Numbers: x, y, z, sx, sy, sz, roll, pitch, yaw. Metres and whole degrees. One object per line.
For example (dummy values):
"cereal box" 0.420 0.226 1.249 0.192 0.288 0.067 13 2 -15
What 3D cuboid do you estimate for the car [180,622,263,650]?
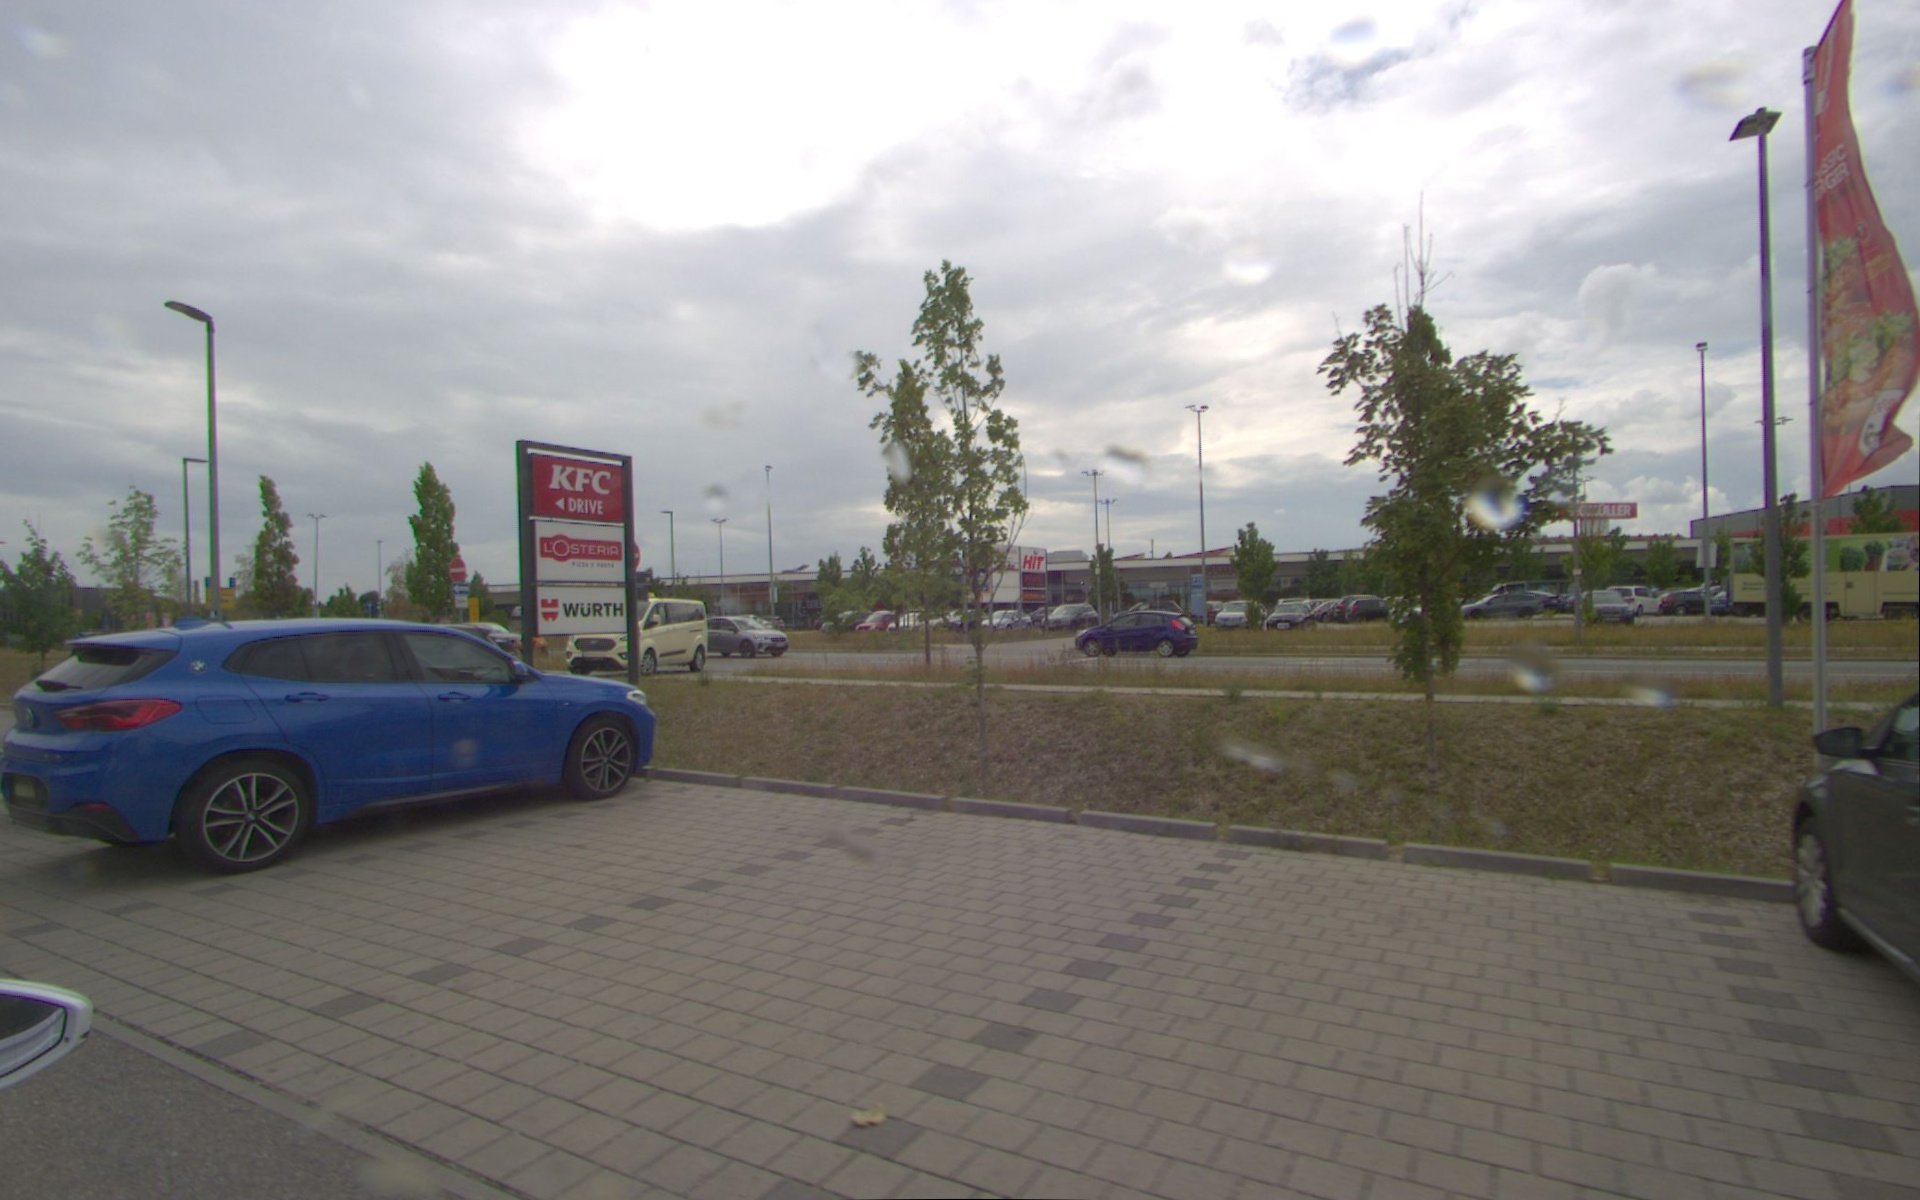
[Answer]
"car" -39.627 1.925 53.721 4.486 1.413 1.762 -1 -1 27

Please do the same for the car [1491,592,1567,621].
"car" 38.434 0.439 67.757 4.110 1.862 1.997 -1 1 15

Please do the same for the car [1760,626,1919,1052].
"car" 4.080 0.800 3.149 1.701 1.446 3.985 -1 -2 28

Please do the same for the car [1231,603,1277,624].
"car" 27.679 1.267 94.472 4.110 1.862 1.997 -1 1 15

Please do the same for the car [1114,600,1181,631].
"car" 12.128 0.984 64.681 4.110 1.862 1.997 -1 1 15

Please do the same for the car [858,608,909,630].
"car" -6.901 1.689 90.667 4.111 1.862 1.997 -1 1 16

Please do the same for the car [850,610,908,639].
"car" -4.911 1.492 61.323 1.876 1.560 4.043 -1 1 22

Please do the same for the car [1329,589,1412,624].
"car" 23.316 0.351 57.062 4.110 1.862 1.997 -1 1 15

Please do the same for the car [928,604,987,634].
"car" -0.089 1.088 57.823 1.966 1.560 4.043 -1 1 22

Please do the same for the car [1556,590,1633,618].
"car" 44.288 0.258 70.020 4.110 1.862 1.997 -1 1 15

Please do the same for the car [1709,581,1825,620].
"car" 40.736 0.019 50.633 4.063 1.795 1.998 -2 1 10

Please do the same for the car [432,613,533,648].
"car" -20.525 1.317 43.034 4.152 1.413 1.762 -1 -1 27

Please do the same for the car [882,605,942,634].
"car" -2.797 1.149 59.796 1.835 1.521 4.058 -1 1 26

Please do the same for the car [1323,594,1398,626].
"car" 24.761 0.637 62.023 4.110 1.862 1.997 -1 1 15

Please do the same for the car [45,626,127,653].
"car" -55.784 2.491 63.887 4.769 1.573 1.798 -1 1 19

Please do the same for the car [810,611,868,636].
"car" -9.637 1.833 79.819 4.110 1.862 1.997 -1 1 15

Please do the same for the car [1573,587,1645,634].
"car" 26.912 0.409 41.655 1.900 1.795 4.305 -1 1 25

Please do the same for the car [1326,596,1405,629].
"car" 24.032 0.753 59.525 4.110 1.862 1.997 -1 1 15

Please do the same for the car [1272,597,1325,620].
"car" 28.356 0.713 83.956 4.110 1.862 1.997 -1 1 15

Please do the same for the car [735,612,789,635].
"car" -17.197 2.009 87.025 4.108 1.862 1.998 -1 1 12

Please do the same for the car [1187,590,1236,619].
"car" 14.948 0.253 59.400 1.968 1.560 4.143 -1 1 27

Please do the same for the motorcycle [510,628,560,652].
"motorcycle" -15.424 1.451 36.309 2.003 0.784 0.810 -3 1 39

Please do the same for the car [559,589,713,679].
"car" -8.287 0.816 26.221 1.961 2.114 5.230 0 0 5

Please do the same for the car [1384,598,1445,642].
"car" 20.386 0.881 45.087 1.964 1.795 4.313 -1 1 17

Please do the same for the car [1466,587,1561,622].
"car" 30.957 0.240 56.122 4.240 1.795 1.998 -2 1 13

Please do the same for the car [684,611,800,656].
"car" -7.860 1.199 36.049 3.943 1.479 1.820 -1 1 32

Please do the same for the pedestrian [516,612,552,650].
"pedestrian" -15.453 1.118 36.319 0.888 1.298 0.800 -4 1 39

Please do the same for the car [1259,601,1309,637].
"car" 15.429 0.867 47.612 1.743 1.560 4.040 -1 1 25

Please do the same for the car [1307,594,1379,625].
"car" 24.699 0.623 64.753 4.110 1.862 1.997 -1 1 15

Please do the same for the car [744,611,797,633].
"car" -16.988 1.983 89.840 4.111 1.862 1.997 -1 1 16

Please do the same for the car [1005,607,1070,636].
"car" 5.343 1.465 68.935 4.110 1.862 1.997 -1 1 15

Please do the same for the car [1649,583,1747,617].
"car" 41.613 -0.008 56.537 3.924 1.795 1.998 -2 1 11

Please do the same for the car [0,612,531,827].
"car" -6.362 0.884 9.356 1.751 1.479 4.052 0 0 33

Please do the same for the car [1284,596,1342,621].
"car" 27.733 0.683 78.783 4.110 1.862 1.997 -1 1 15

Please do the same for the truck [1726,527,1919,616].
"truck" 35.036 -1.056 38.546 2.994 3.239 8.363 -2 1 -39

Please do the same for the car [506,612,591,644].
"car" -30.748 2.071 75.020 2.306 2.150 5.567 -1 1 31

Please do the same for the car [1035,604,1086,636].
"car" 5.525 1.054 54.509 1.742 1.560 3.752 -1 1 22

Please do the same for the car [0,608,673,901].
"car" -4.425 0.868 7.624 1.837 1.564 4.195 -1 -1 31

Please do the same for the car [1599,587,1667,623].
"car" 36.319 0.235 54.025 3.953 1.795 1.984 -2 1 -40

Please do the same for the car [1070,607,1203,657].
"car" 5.632 1.029 32.007 3.861 1.479 1.653 -1 1 30

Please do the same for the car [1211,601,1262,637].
"car" 13.616 0.910 49.099 1.743 1.560 4.040 -1 1 25

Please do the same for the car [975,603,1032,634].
"car" 2.487 1.021 56.444 1.966 1.560 4.043 -1 1 22

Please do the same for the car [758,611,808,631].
"car" -16.344 1.921 92.513 4.110 1.772 1.997 -1 1 16
